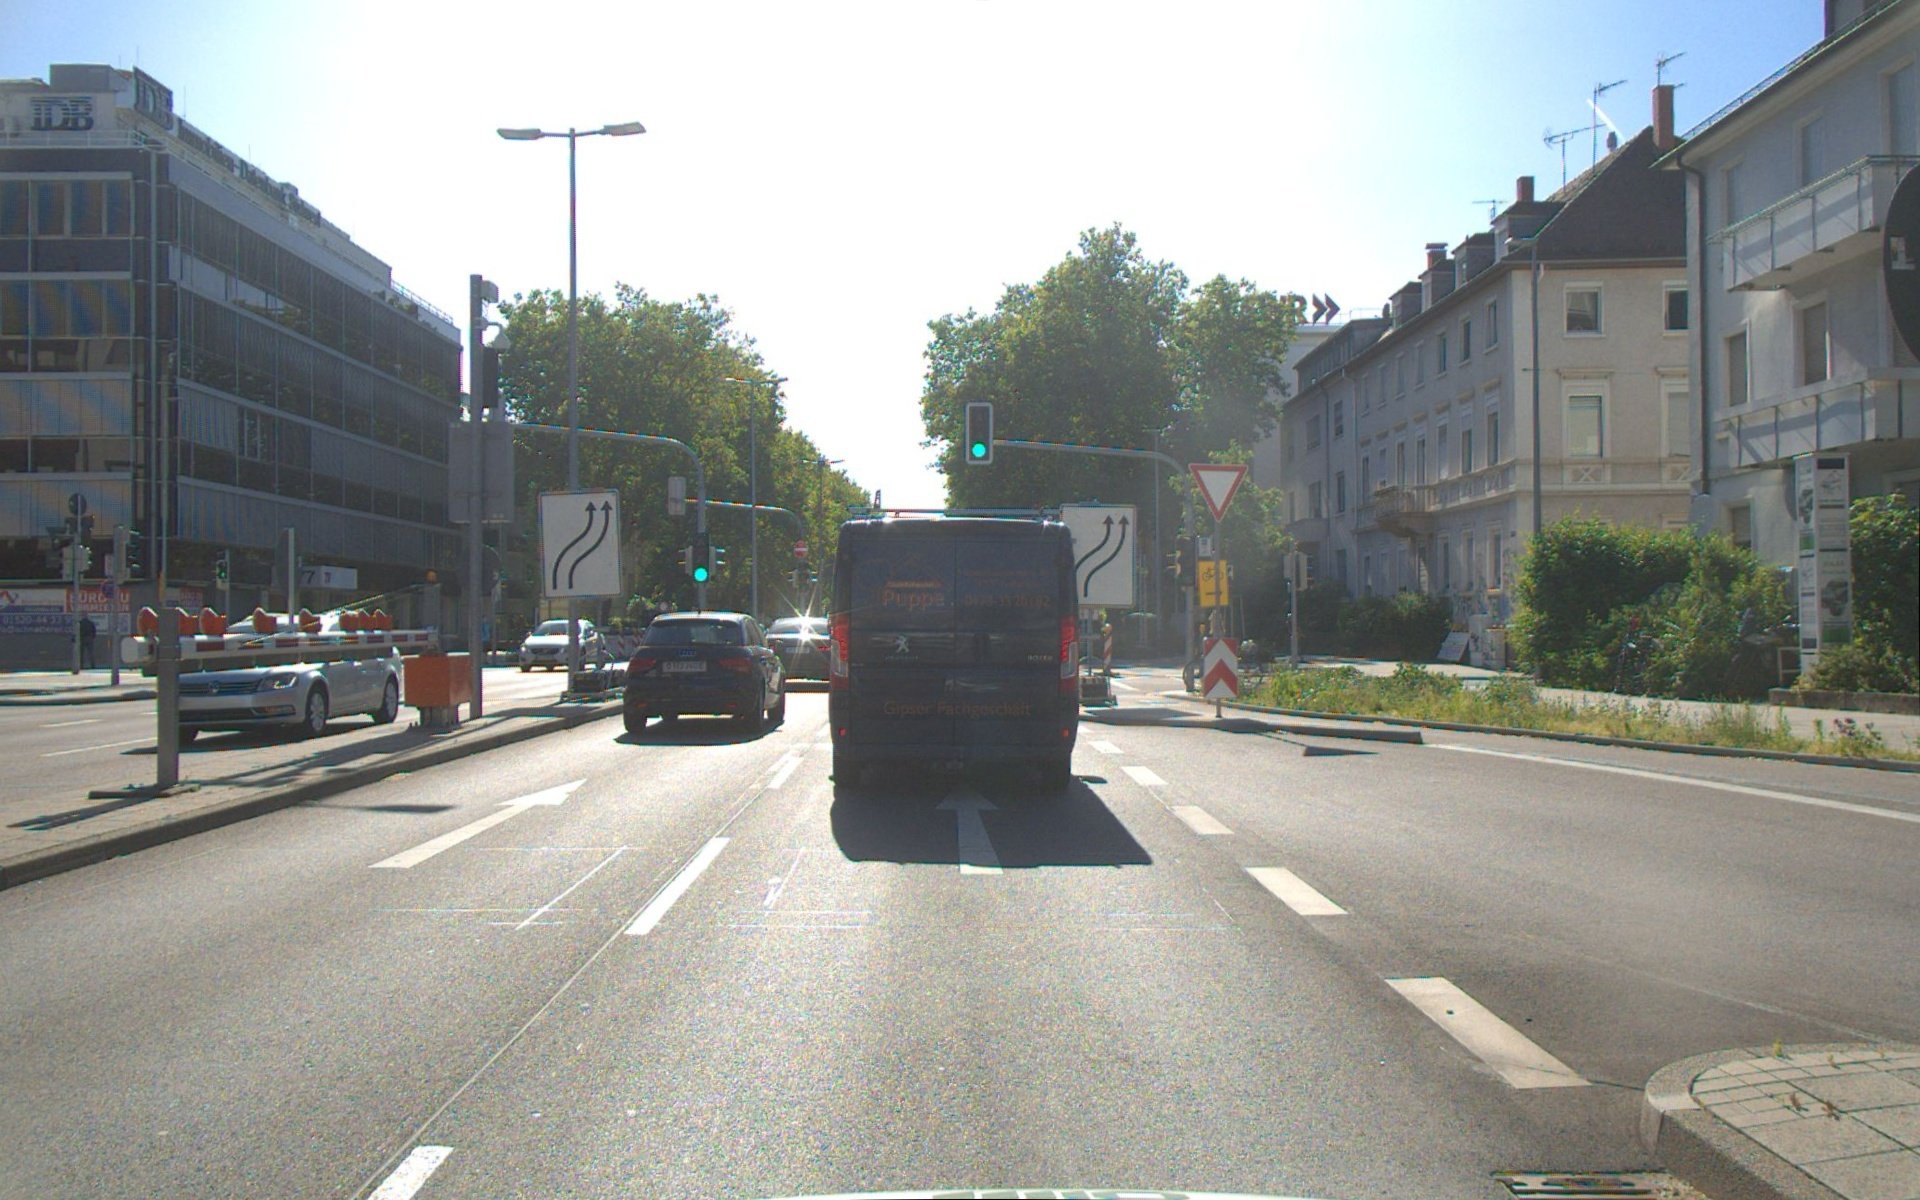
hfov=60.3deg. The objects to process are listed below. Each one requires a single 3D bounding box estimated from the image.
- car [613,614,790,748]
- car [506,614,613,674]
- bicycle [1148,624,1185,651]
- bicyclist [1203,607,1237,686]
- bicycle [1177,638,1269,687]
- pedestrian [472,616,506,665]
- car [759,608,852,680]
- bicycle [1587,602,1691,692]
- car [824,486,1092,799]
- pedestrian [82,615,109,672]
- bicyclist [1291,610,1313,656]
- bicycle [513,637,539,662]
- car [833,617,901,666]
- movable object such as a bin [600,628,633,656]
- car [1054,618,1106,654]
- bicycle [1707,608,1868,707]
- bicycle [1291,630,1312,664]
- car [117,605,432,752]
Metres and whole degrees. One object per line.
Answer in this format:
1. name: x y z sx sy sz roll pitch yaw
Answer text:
1. car: -3.149 0.936 20.842 1.711 1.432 3.999 1 1 -2
2. car: -11.730 1.267 48.739 1.952 1.478 4.391 2 1 1
3. bicycle: 8.131 1.477 65.065 0.577 1.023 2.125 -1 -1 34
4. bicyclist: 5.786 1.022 36.835 0.591 1.738 0.858 -1 -1 0
5. bicycle: 5.842 1.379 36.777 1.922 1.043 0.605 1 0 -1
6. pedestrian: -17.027 1.466 59.769 0.846 1.741 1.013 -1 -1 7
7. car: -3.233 0.912 35.143 1.711 1.432 3.998 1 -1 -2
8. bicycle: 11.634 0.769 28.440 0.694 1.469 2.490 1 0 -1
9. car: -0.049 0.331 14.671 2.053 2.396 3.932 0 0 -1
10. pedestrian: -26.227 1.312 50.187 0.691 1.687 0.739 0 -1 -31
11. bicyclist: 11.605 1.113 56.155 0.708 1.526 0.872 -1 -1 12
12. bicycle: -18.787 2.142 71.607 0.614 1.055 1.879 0 -1 1
13. car: -2.963 1.306 53.552 1.872 1.469 4.602 1 0 0
14. movable object such as a bin: -17.354 2.117 83.500 1.381 1.361 1.157 0 -1 2
15. car: 5.317 1.583 73.759 1.815 1.505 4.940 0 -1 -2
16. bicycle: 12.935 0.889 25.887 2.209 1.511 0.638 -1 -1 -2
17. bicycle: 11.570 1.575 56.099 0.674 1.117 1.688 -1 -1 11
18. car: -8.528 0.901 21.102 1.953 1.478 4.618 -3 1 1
